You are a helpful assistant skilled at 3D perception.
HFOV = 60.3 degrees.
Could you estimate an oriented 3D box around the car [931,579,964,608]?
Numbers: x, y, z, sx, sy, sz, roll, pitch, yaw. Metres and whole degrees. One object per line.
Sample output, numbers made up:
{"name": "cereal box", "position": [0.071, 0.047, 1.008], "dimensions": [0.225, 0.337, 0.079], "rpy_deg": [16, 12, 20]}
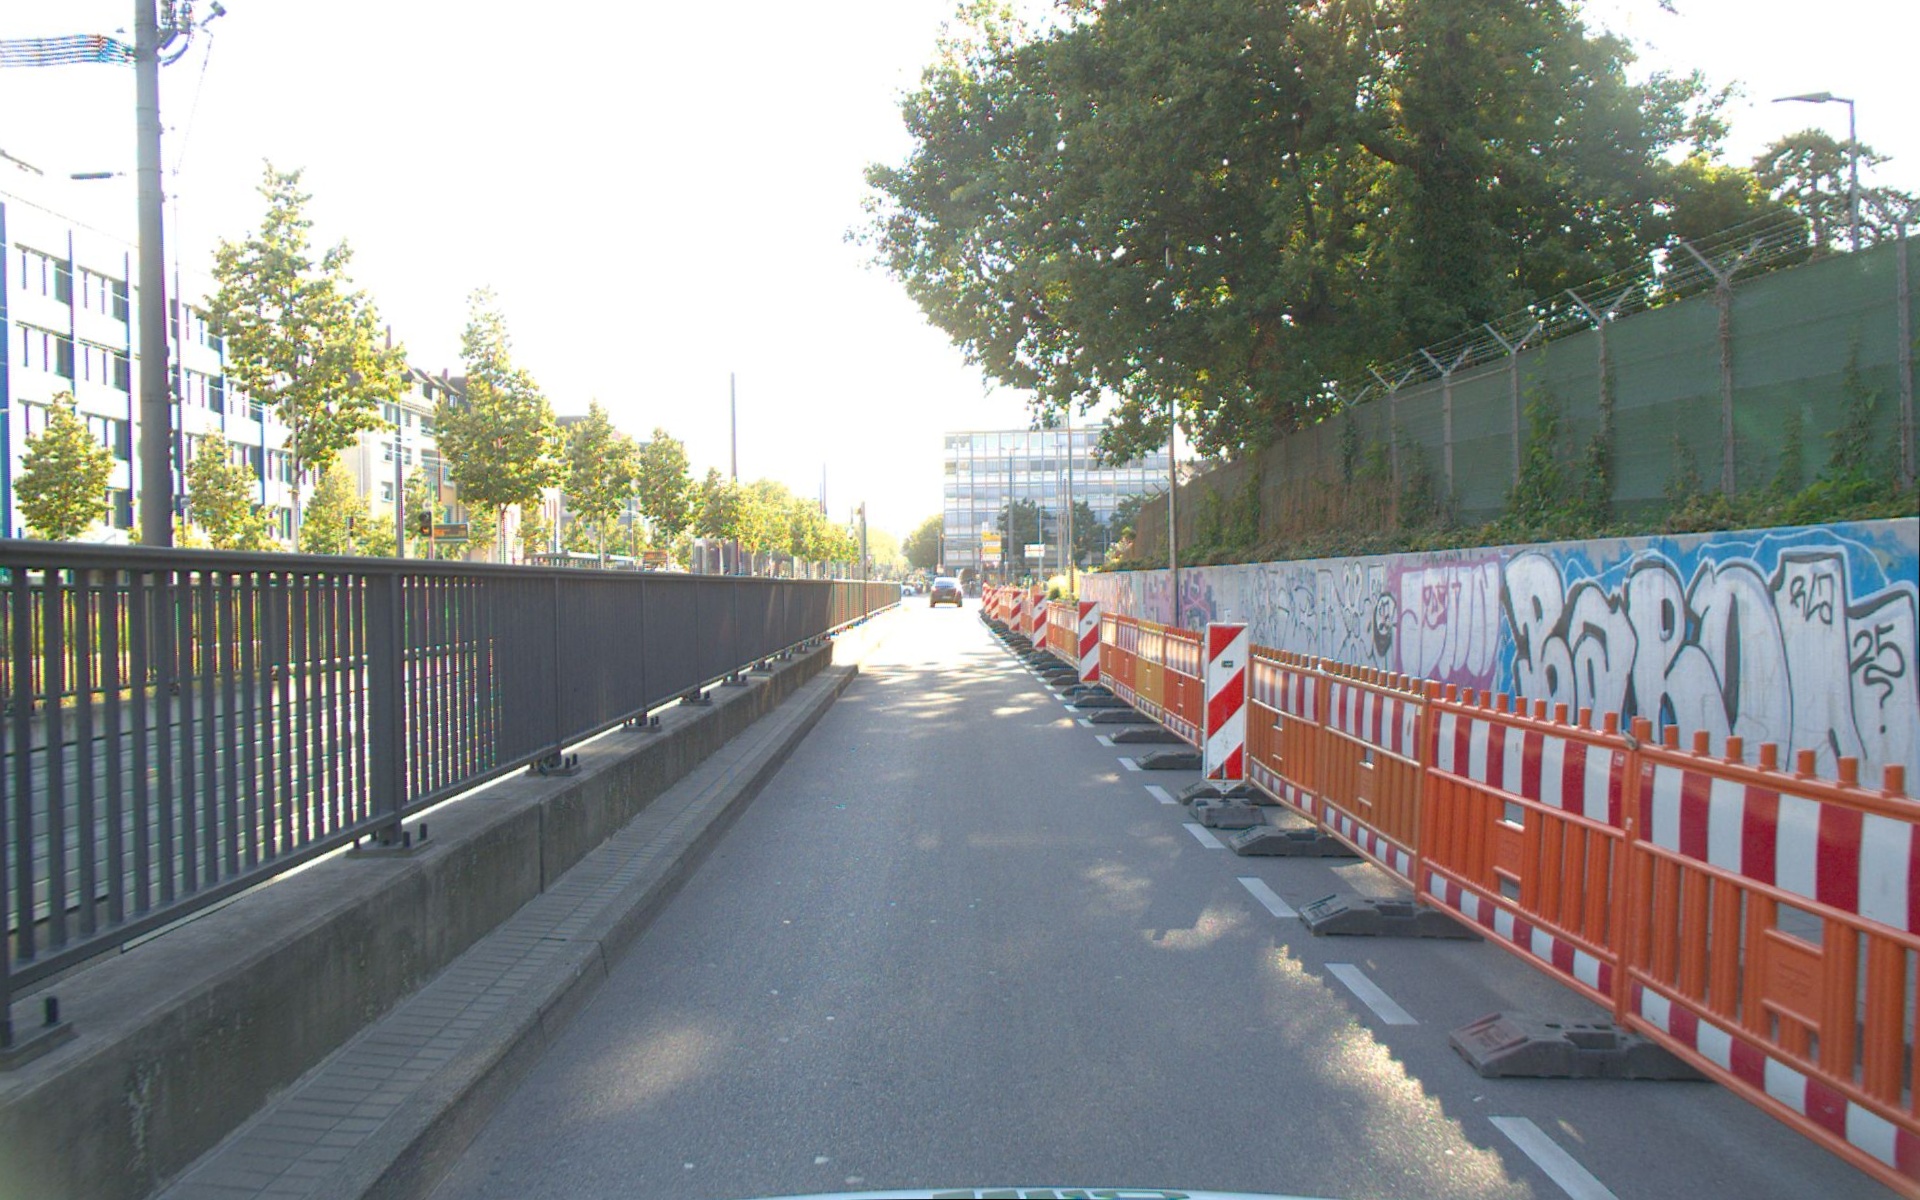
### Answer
{"name": "car", "position": [-0.728, -0.416, 100.066], "dimensions": [1.964, 1.688, 4.000], "rpy_deg": [1, 0, 0]}

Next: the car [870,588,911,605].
{"name": "car", "position": [-7.236, -0.381, 171.279], "dimensions": [3.902, 1.669, 2.002], "rpy_deg": [1, 0, 9]}

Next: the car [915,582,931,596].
{"name": "car", "position": [-4.474, -1.280, 198.972], "dimensions": [1.953, 1.646, 3.999], "rpy_deg": [0, 1, -2]}

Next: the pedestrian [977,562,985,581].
{"name": "pedestrian", "position": [2.396, -3.233, 187.816], "dimensions": [0.873, 2.149, 0.718], "rpy_deg": [0, 1, 4]}
